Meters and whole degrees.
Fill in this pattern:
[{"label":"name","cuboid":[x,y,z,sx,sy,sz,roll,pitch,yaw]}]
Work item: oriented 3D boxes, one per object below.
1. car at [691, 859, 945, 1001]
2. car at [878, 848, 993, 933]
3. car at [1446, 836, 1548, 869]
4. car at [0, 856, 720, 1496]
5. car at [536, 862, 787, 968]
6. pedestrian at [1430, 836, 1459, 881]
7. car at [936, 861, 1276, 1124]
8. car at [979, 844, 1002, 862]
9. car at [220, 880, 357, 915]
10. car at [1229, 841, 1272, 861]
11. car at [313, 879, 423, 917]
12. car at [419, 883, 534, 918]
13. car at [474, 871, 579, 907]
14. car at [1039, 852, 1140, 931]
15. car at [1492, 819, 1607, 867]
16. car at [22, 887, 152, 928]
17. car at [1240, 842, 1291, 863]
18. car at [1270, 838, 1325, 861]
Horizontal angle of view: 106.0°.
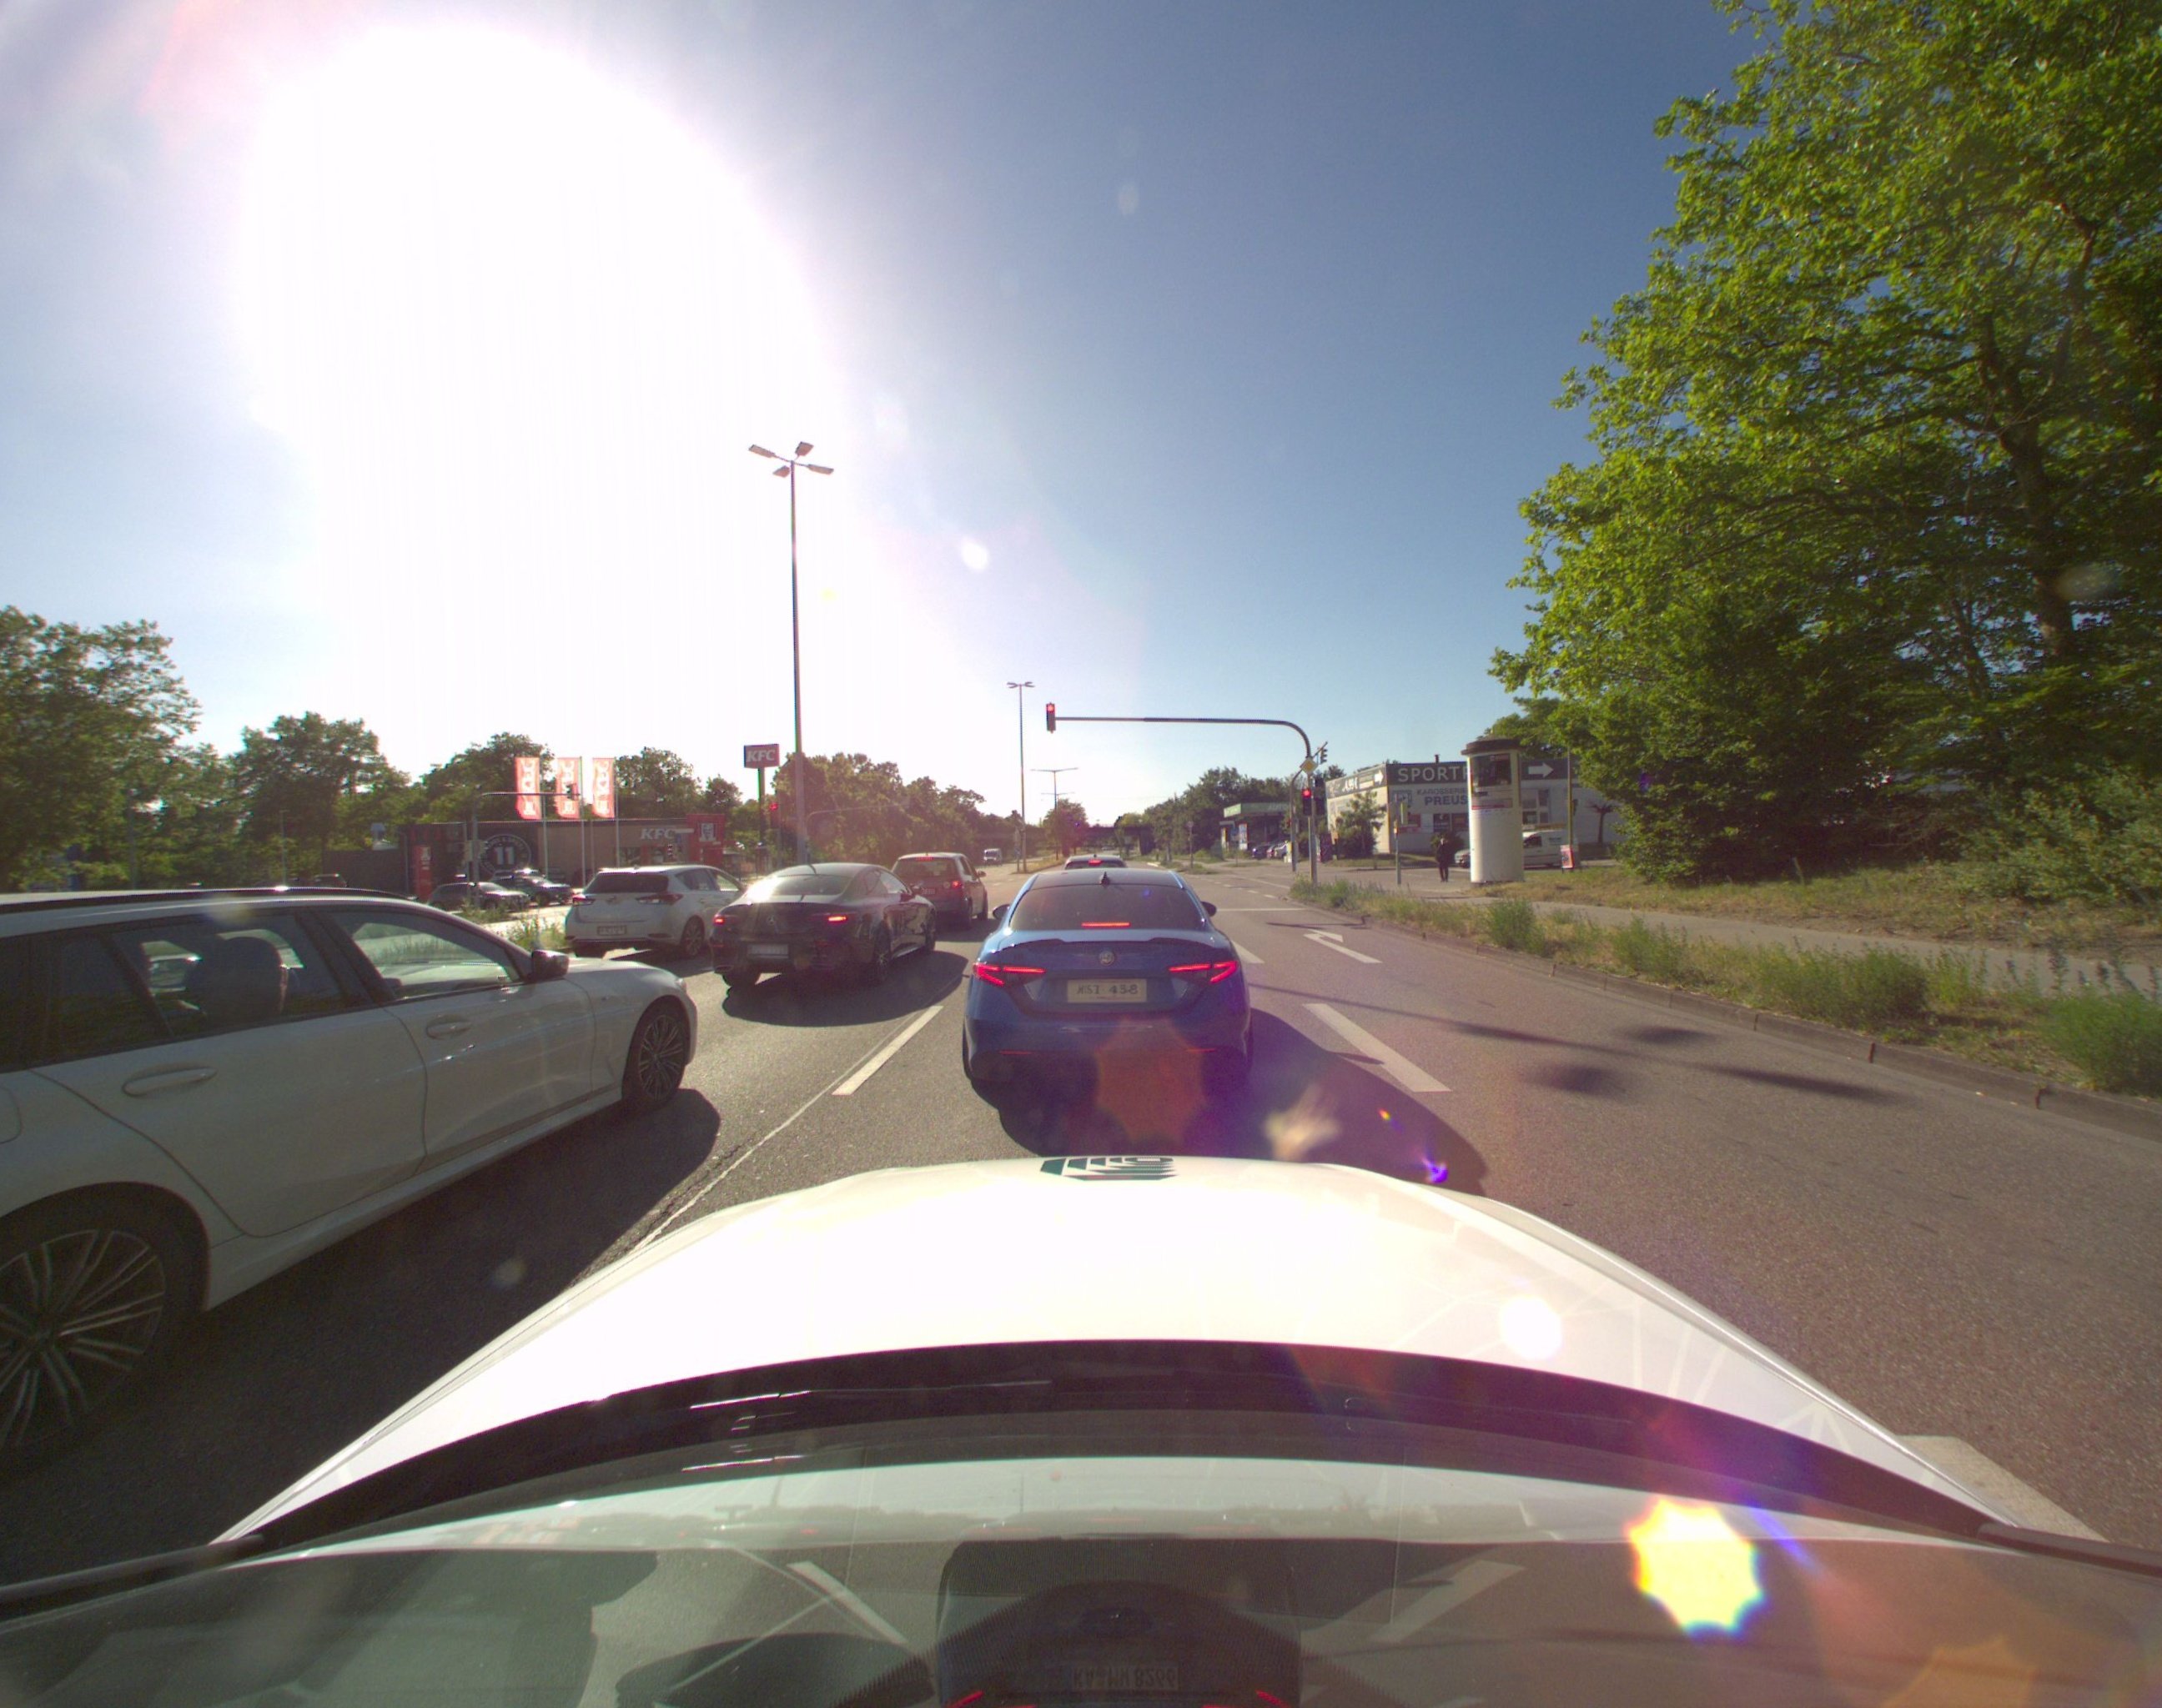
[{"label":"car","cuboid":[-3.146,0.811,10.817,1.762,1.414,4.463,-1,0,2]},{"label":"car","cuboid":[-3.025,0.697,17.739,1.642,1.598,3.933,-1,0,2]},{"label":"car","cuboid":[21.948,-0.080,43.049,4.393,1.553,1.999,-1,0,-2]},{"label":"car","cuboid":[-3.433,0.795,3.344,1.762,1.509,4.463,-1,0,2]},{"label":"car","cuboid":[-6.820,0.895,13.883,1.850,1.429,4.405,-1,0,2]},{"label":"pedestrian","cuboid":[14.207,0.181,31.842,0.818,1.721,0.856,-2,0,9]},{"label":"car","cuboid":[0.198,0.786,6.482,1.859,1.385,3.933,-1,0,2]},{"label":"car","cuboid":[-12.762,-0.193,115.476,2.423,2.427,5.831,-2,0,0]},{"label":"car","cuboid":[-37.394,2.033,38.495,4.701,1.429,1.865,-1,1,2]},{"label":"car","cuboid":[15.378,-0.255,73.953,3.489,1.706,1.687,-1,0,-14]},{"label":"car","cuboid":[-36.649,2.239,41.923,4.020,1.782,1.826,-1,0,3]},{"label":"car","cuboid":[-28.091,2.129,37.923,4.019,1.429,1.826,-1,0,3]},{"label":"car","cuboid":[-28.316,1.768,41.680,4.028,1.595,1.822,-1,0,-4]},{"label":"car","cuboid":[0.228,0.699,17.180,1.859,1.450,3.933,-1,0,2]},{"label":"car","cuboid":[22.627,-0.520,39.450,4.393,2.145,1.999,-1,0,-2]},{"label":"car","cuboid":[-46.875,2.513,38.465,3.972,1.728,1.759,-1,0,1]},{"label":"car","cuboid":[16.038,-0.153,70.743,3.997,1.706,1.685,-1,0,-18]},{"label":"car","cuboid":[17.505,-0.360,65.850,3.993,1.706,1.687,-1,0,-15]}]
